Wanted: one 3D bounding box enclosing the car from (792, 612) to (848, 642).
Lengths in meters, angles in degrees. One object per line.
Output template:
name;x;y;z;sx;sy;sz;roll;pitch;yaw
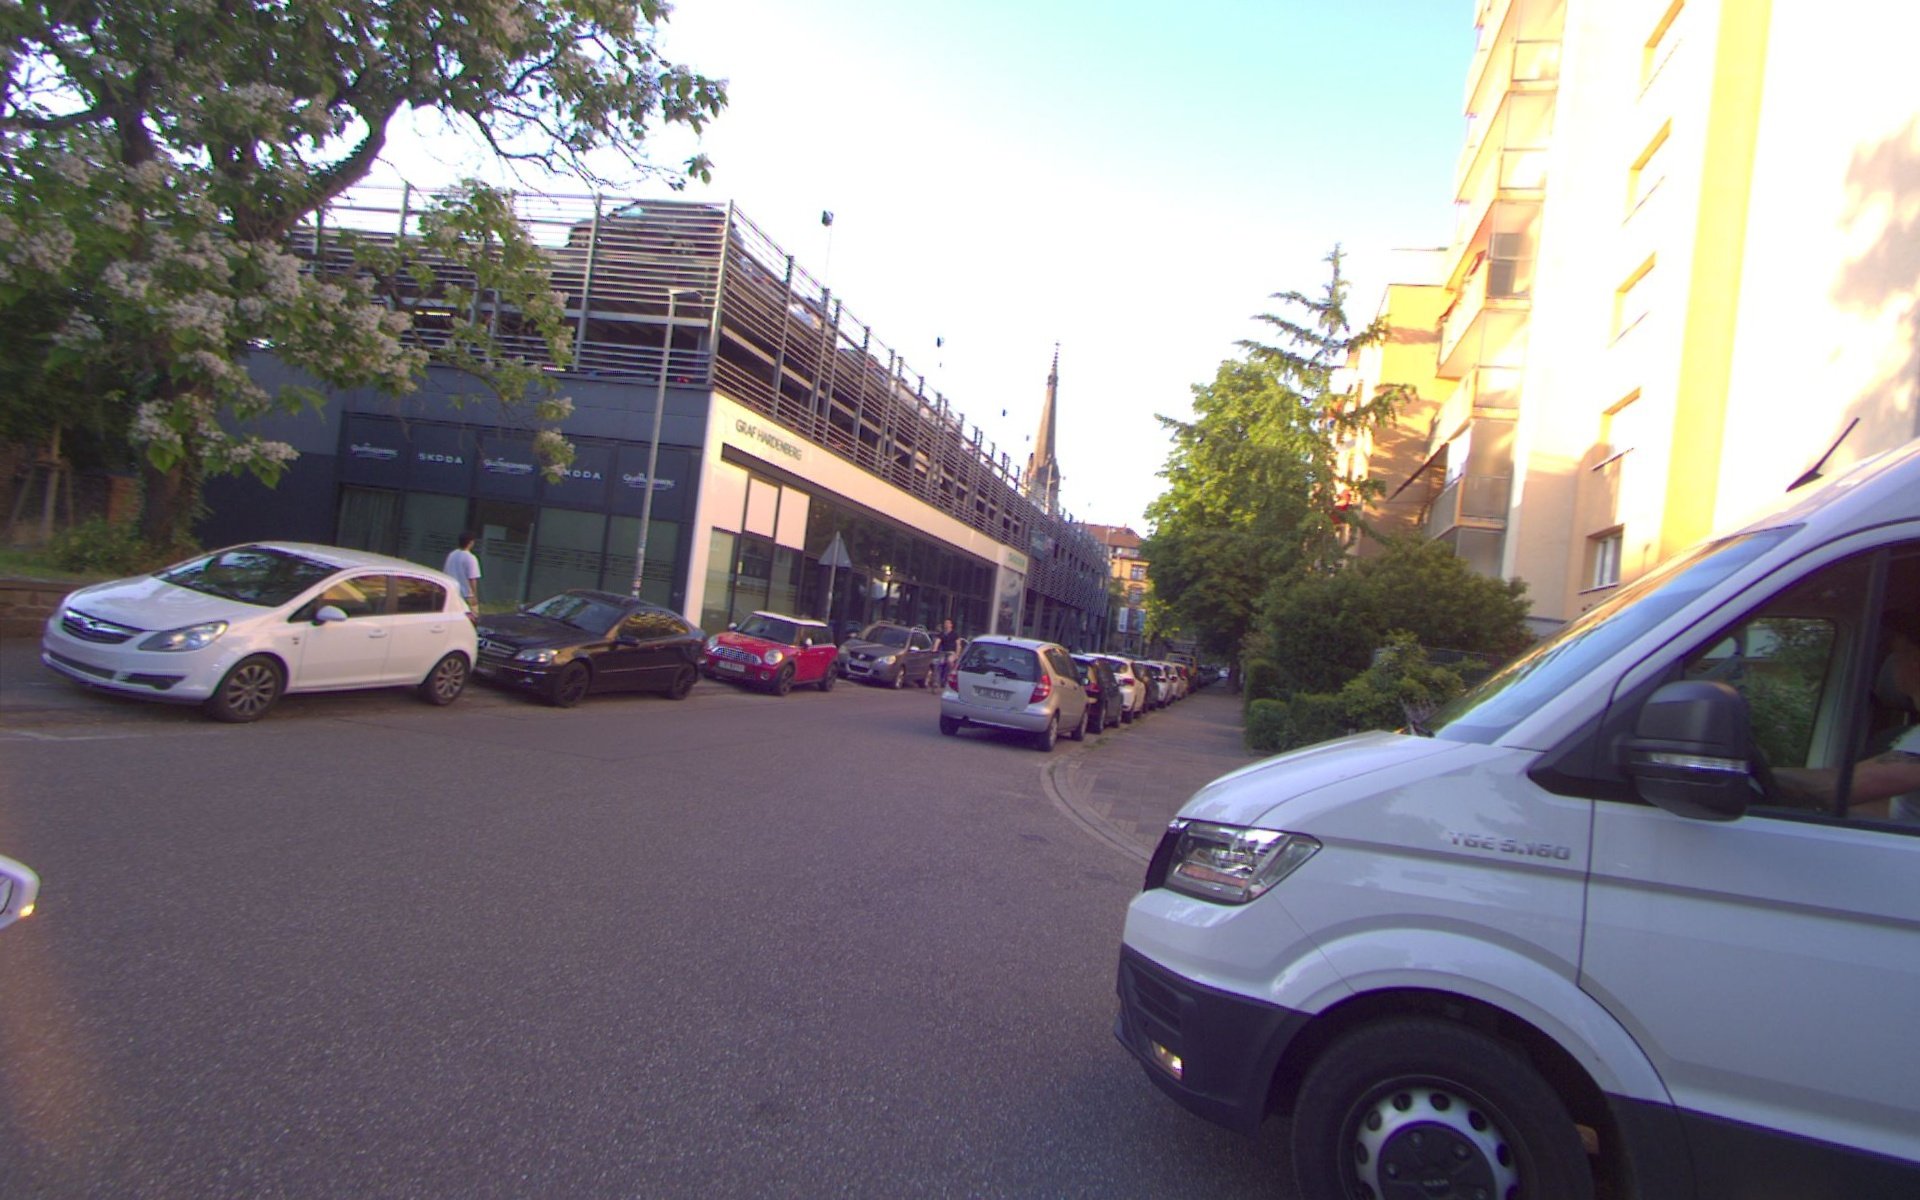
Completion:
car;-6.902;1.355;49.888;1.397;1.270;3.216;7;-1;17

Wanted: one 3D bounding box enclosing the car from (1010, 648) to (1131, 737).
car;2.371;1.835;20.690;1.690;1.436;4.031;6;-2;16

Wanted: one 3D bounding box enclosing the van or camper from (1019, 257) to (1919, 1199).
van or camper;3.808;0.806;2.536;6.747;2.619;2.098;7;-3;24

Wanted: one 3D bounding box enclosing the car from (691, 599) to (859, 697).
car;-3.518;0.951;19.934;1.636;1.427;3.931;12;0;13

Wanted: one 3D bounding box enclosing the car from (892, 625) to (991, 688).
car;-0.468;1.705;30.278;1.702;1.419;4.010;12;0;15

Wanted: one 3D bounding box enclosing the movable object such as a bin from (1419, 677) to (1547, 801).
movable object such as a bin;7.434;1.936;14.412;1.105;1.488;1.583;7;0;12

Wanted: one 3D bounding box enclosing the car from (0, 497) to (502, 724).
car;-6.549;0.149;9.855;1.636;1.532;3.887;10;0;11

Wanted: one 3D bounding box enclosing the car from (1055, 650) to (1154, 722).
car;3.679;2.100;25.096;1.781;1.433;3.899;6;-2;17

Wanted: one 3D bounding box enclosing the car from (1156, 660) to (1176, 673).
car;32.025;10.344;156.479;1.632;1.448;3.891;8;-1;-7

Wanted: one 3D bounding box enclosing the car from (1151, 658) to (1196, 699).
car;9.587;3.479;44.966;1.584;1.528;3.480;6;-1;16

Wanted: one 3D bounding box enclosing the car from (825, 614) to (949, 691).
car;-1.759;1.360;25.697;1.636;1.514;3.888;12;0;17

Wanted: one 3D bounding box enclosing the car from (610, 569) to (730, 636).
car;-8.873;0.137;31.111;1.671;1.678;3.741;6;-1;16

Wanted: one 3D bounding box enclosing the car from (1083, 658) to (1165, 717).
car;5.006;2.561;30.166;1.781;1.433;4.629;6;-2;16

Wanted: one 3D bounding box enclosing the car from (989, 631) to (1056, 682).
car;2.630;2.321;41.343;1.671;1.777;4.407;6;-1;16

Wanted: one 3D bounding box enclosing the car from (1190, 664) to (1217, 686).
car;19.388;5.955;80.013;1.731;1.459;4.008;7;-1;16

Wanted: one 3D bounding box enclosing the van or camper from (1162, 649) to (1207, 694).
van or camper;12.321;3.854;54.993;2.031;2.121;5.094;7;-1;15

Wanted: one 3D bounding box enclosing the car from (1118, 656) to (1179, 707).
car;6.684;2.826;35.382;1.584;1.478;4.057;6;-2;16

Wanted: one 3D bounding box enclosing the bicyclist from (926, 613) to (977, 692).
bicyclist;-0.204;1.291;24.961;0.845;1.830;1.017;6;0;14

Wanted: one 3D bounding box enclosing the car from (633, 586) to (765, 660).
car;-6.968;0.683;27.312;1.568;1.669;3.879;6;-1;16

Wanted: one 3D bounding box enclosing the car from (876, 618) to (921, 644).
car;-3.614;1.844;59.409;1.397;1.270;3.528;7;-1;17

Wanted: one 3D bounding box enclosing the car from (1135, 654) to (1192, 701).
car;8.193;3.070;40.242;1.763;1.581;4.197;6;-1;16

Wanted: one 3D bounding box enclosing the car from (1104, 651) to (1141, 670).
car;19.380;7.189;120.079;4.064;1.637;1.914;9;0;15

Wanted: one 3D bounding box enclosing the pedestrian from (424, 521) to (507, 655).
pedestrian;-7.384;-0.166;15.034;0.709;1.901;0.620;7;0;18

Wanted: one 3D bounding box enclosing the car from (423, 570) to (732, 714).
car;-5.158;0.625;14.344;1.636;1.432;4.418;12;0;15

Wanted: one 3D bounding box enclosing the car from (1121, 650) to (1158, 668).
car;24.600;8.121;138.038;4.752;1.753;1.922;8;0;11

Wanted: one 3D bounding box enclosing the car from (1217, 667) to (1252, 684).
car;34.304;9.440;125.870;3.930;1.484;1.867;8;-1;-30

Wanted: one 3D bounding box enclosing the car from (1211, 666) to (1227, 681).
car;30.987;8.779;120.162;1.668;1.589;3.976;7;-2;16

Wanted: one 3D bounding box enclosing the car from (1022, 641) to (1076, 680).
car;4.172;2.802;46.728;1.671;1.523;3.794;6;-1;16

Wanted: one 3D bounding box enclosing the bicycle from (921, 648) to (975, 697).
bicycle;-0.273;1.779;24.816;0.747;1.110;1.866;5;-2;15

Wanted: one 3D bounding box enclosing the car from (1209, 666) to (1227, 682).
car;28.484;8.137;111.104;1.668;1.494;3.564;7;-2;13

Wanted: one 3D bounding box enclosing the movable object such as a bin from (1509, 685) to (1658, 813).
movable object such as a bin;8.701;2.035;14.141;1.164;1.488;1.583;7;0;12

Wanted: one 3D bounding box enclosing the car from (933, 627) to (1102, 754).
car;1.067;1.396;16.295;1.781;1.594;3.888;6;-1;16

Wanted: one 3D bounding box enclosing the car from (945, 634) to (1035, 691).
car;1.115;2.158;35.046;1.907;1.616;4.207;7;-1;18
